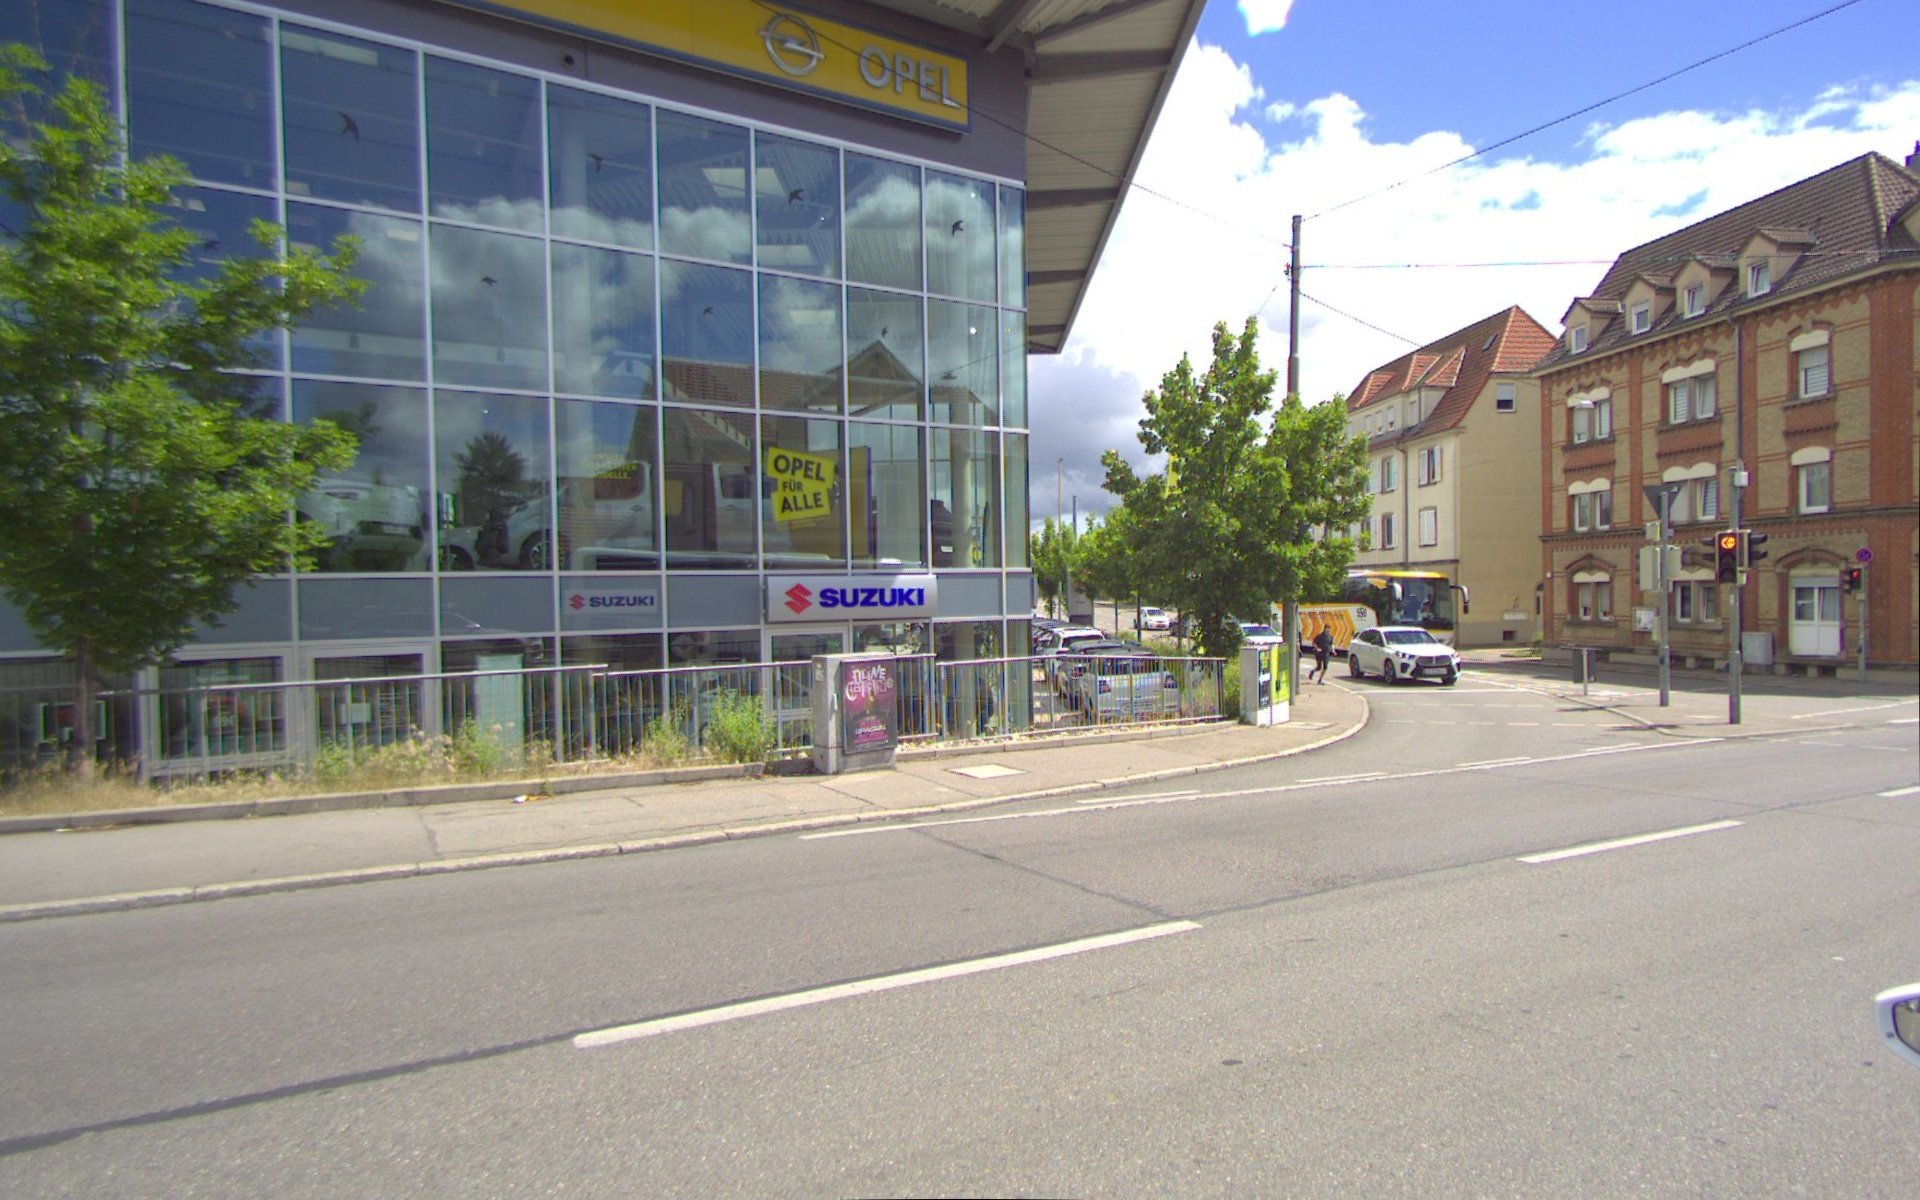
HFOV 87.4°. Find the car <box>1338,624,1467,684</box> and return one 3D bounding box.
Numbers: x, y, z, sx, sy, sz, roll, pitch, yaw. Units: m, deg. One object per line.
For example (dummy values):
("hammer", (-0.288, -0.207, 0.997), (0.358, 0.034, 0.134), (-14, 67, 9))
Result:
("car", (12.821, 1.576, 29.399), (1.797, 1.572, 4.308), (-2, -3, 0))

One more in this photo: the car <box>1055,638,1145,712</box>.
("car", (3.341, 1.762, 24.517), (1.584, 1.547, 3.499), (-1, 0, -2))

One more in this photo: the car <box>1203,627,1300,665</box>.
("car", (11.807, 1.858, 40.905), (1.860, 1.437, 3.597), (1, -1, -26))

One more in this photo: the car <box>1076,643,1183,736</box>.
("car", (3.347, 1.739, 20.397), (1.648, 1.582, 3.365), (-1, 0, 1))

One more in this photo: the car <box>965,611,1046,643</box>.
("car", (2.362, 1.411, 52.794), (3.930, 1.574, 1.804), (1, -1, -12))

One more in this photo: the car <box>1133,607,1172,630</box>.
("car", (13.653, 1.316, 71.501), (1.874, 1.574, 3.999), (1, -1, -2))

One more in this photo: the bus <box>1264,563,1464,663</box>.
("bus", (16.850, 0.567, 43.363), (2.719, 3.669, 12.256), (1, -1, -5))

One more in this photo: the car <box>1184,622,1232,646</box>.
("car", (15.608, 2.144, 63.330), (1.874, 1.428, 3.999), (1, -1, -2))

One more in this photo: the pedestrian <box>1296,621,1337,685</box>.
("pedestrian", (9.969, 1.461, 28.118), (0.744, 1.757, 1.145), (1, -1, 2))

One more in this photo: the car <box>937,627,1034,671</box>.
("car", (0.890, 1.775, 36.996), (3.432, 1.467, 1.799), (-1, 0, -3))

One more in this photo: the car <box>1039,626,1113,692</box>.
("car", (3.308, 1.655, 29.156), (1.620, 1.703, 3.499), (-1, 0, -2))

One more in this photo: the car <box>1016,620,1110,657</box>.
("car", (4.610, 1.716, 45.273), (3.925, 1.574, 1.806), (1, -1, -7))

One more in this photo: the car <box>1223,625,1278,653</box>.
("car", (16.097, 2.133, 55.764), (1.717, 1.428, 3.999), (1, -1, -3))

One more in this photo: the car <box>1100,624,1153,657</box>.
("car", (8.067, 1.945, 48.920), (1.766, 1.467, 3.498), (1, -1, -5))

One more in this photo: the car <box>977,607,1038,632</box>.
("car", (3.165, 1.305, 67.515), (3.922, 1.574, 1.807), (1, -1, -1))

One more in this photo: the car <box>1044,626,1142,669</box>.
("car", (4.920, 1.751, 37.410), (3.430, 1.497, 1.800), (1, -1, 1))
